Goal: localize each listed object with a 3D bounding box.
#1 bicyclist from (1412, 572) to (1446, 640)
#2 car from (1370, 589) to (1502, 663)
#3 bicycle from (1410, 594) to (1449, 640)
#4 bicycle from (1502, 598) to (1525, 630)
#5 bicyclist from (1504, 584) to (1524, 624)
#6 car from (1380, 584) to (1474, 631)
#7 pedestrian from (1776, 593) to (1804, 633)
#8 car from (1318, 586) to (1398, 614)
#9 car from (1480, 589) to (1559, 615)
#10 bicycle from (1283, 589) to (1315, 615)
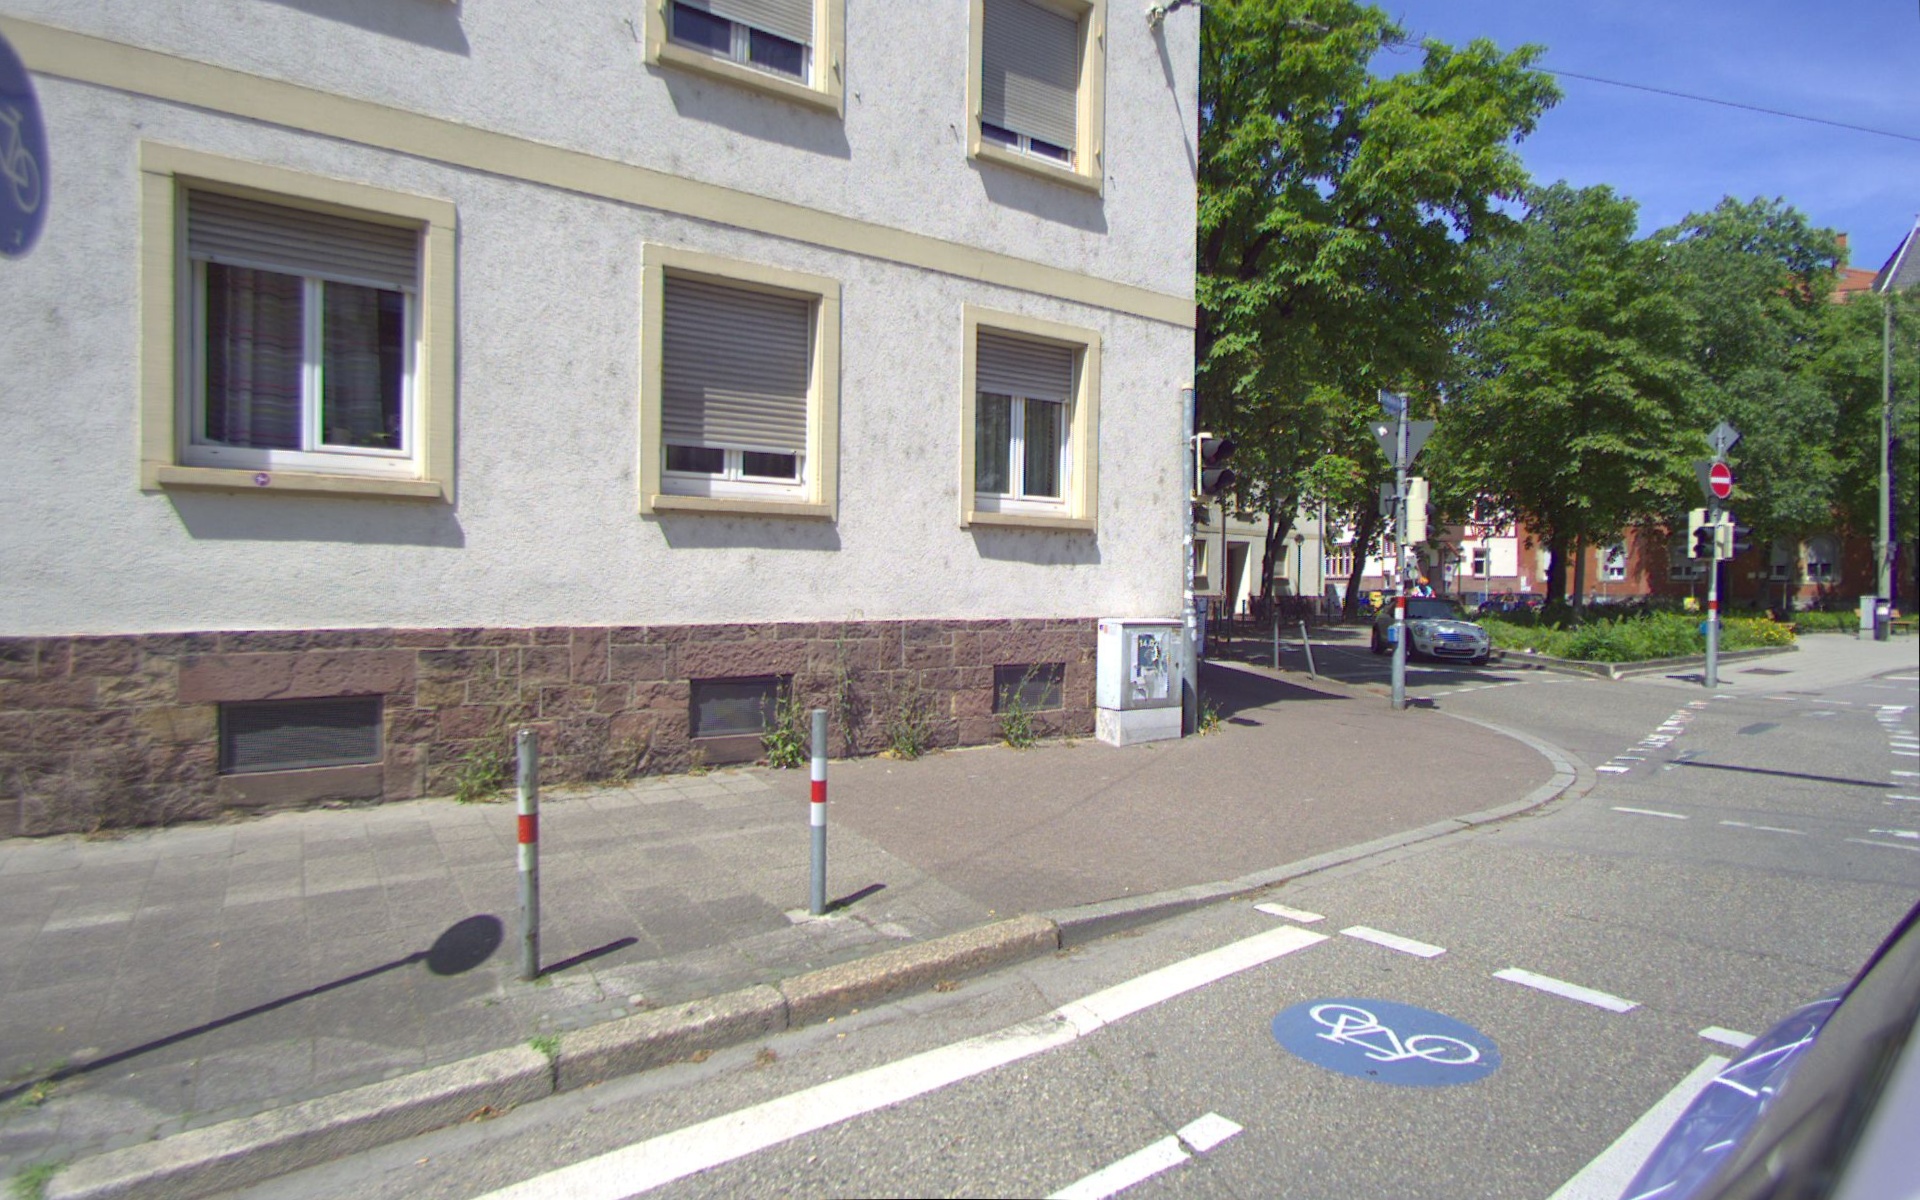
[{"bbox_3d":[12.612,0.143,27.237,0.689,1.789,0.860,0,0,16],"label":"bicyclist"},{"bbox_3d":[10.640,0.515,22.882,1.668,1.463,3.618,3,1,9],"label":"car"},{"bbox_3d":[12.599,0.433,27.208,0.672,1.169,1.795,0,1,16],"label":"bicycle"},{"bbox_3d":[23.378,0.570,42.735,0.636,1.309,1.906,1,0,36],"label":"bicycle"},{"bbox_3d":[23.391,0.154,42.747,0.636,1.644,0.852,0,0,36],"label":"bicyclist"},{"bbox_3d":[16.751,0.237,36.216,3.996,1.582,1.611,0,1,-42],"label":"car"},{"bbox_3d":[24.611,0.378,30.007,0.649,1.165,0.634,0,0,40],"label":"pedestrian"},{"bbox_3d":[23.681,-0.010,60.211,4.228,1.583,1.648,0,0,-13],"label":"car"},{"bbox_3d":[33.283,0.077,60.339,1.610,1.470,4.328,0,1,-15],"label":"car"},{"bbox_3d":[15.225,0.076,45.404,1.900,1.169,0.514,0,0,-42],"label":"bicycle"}]
